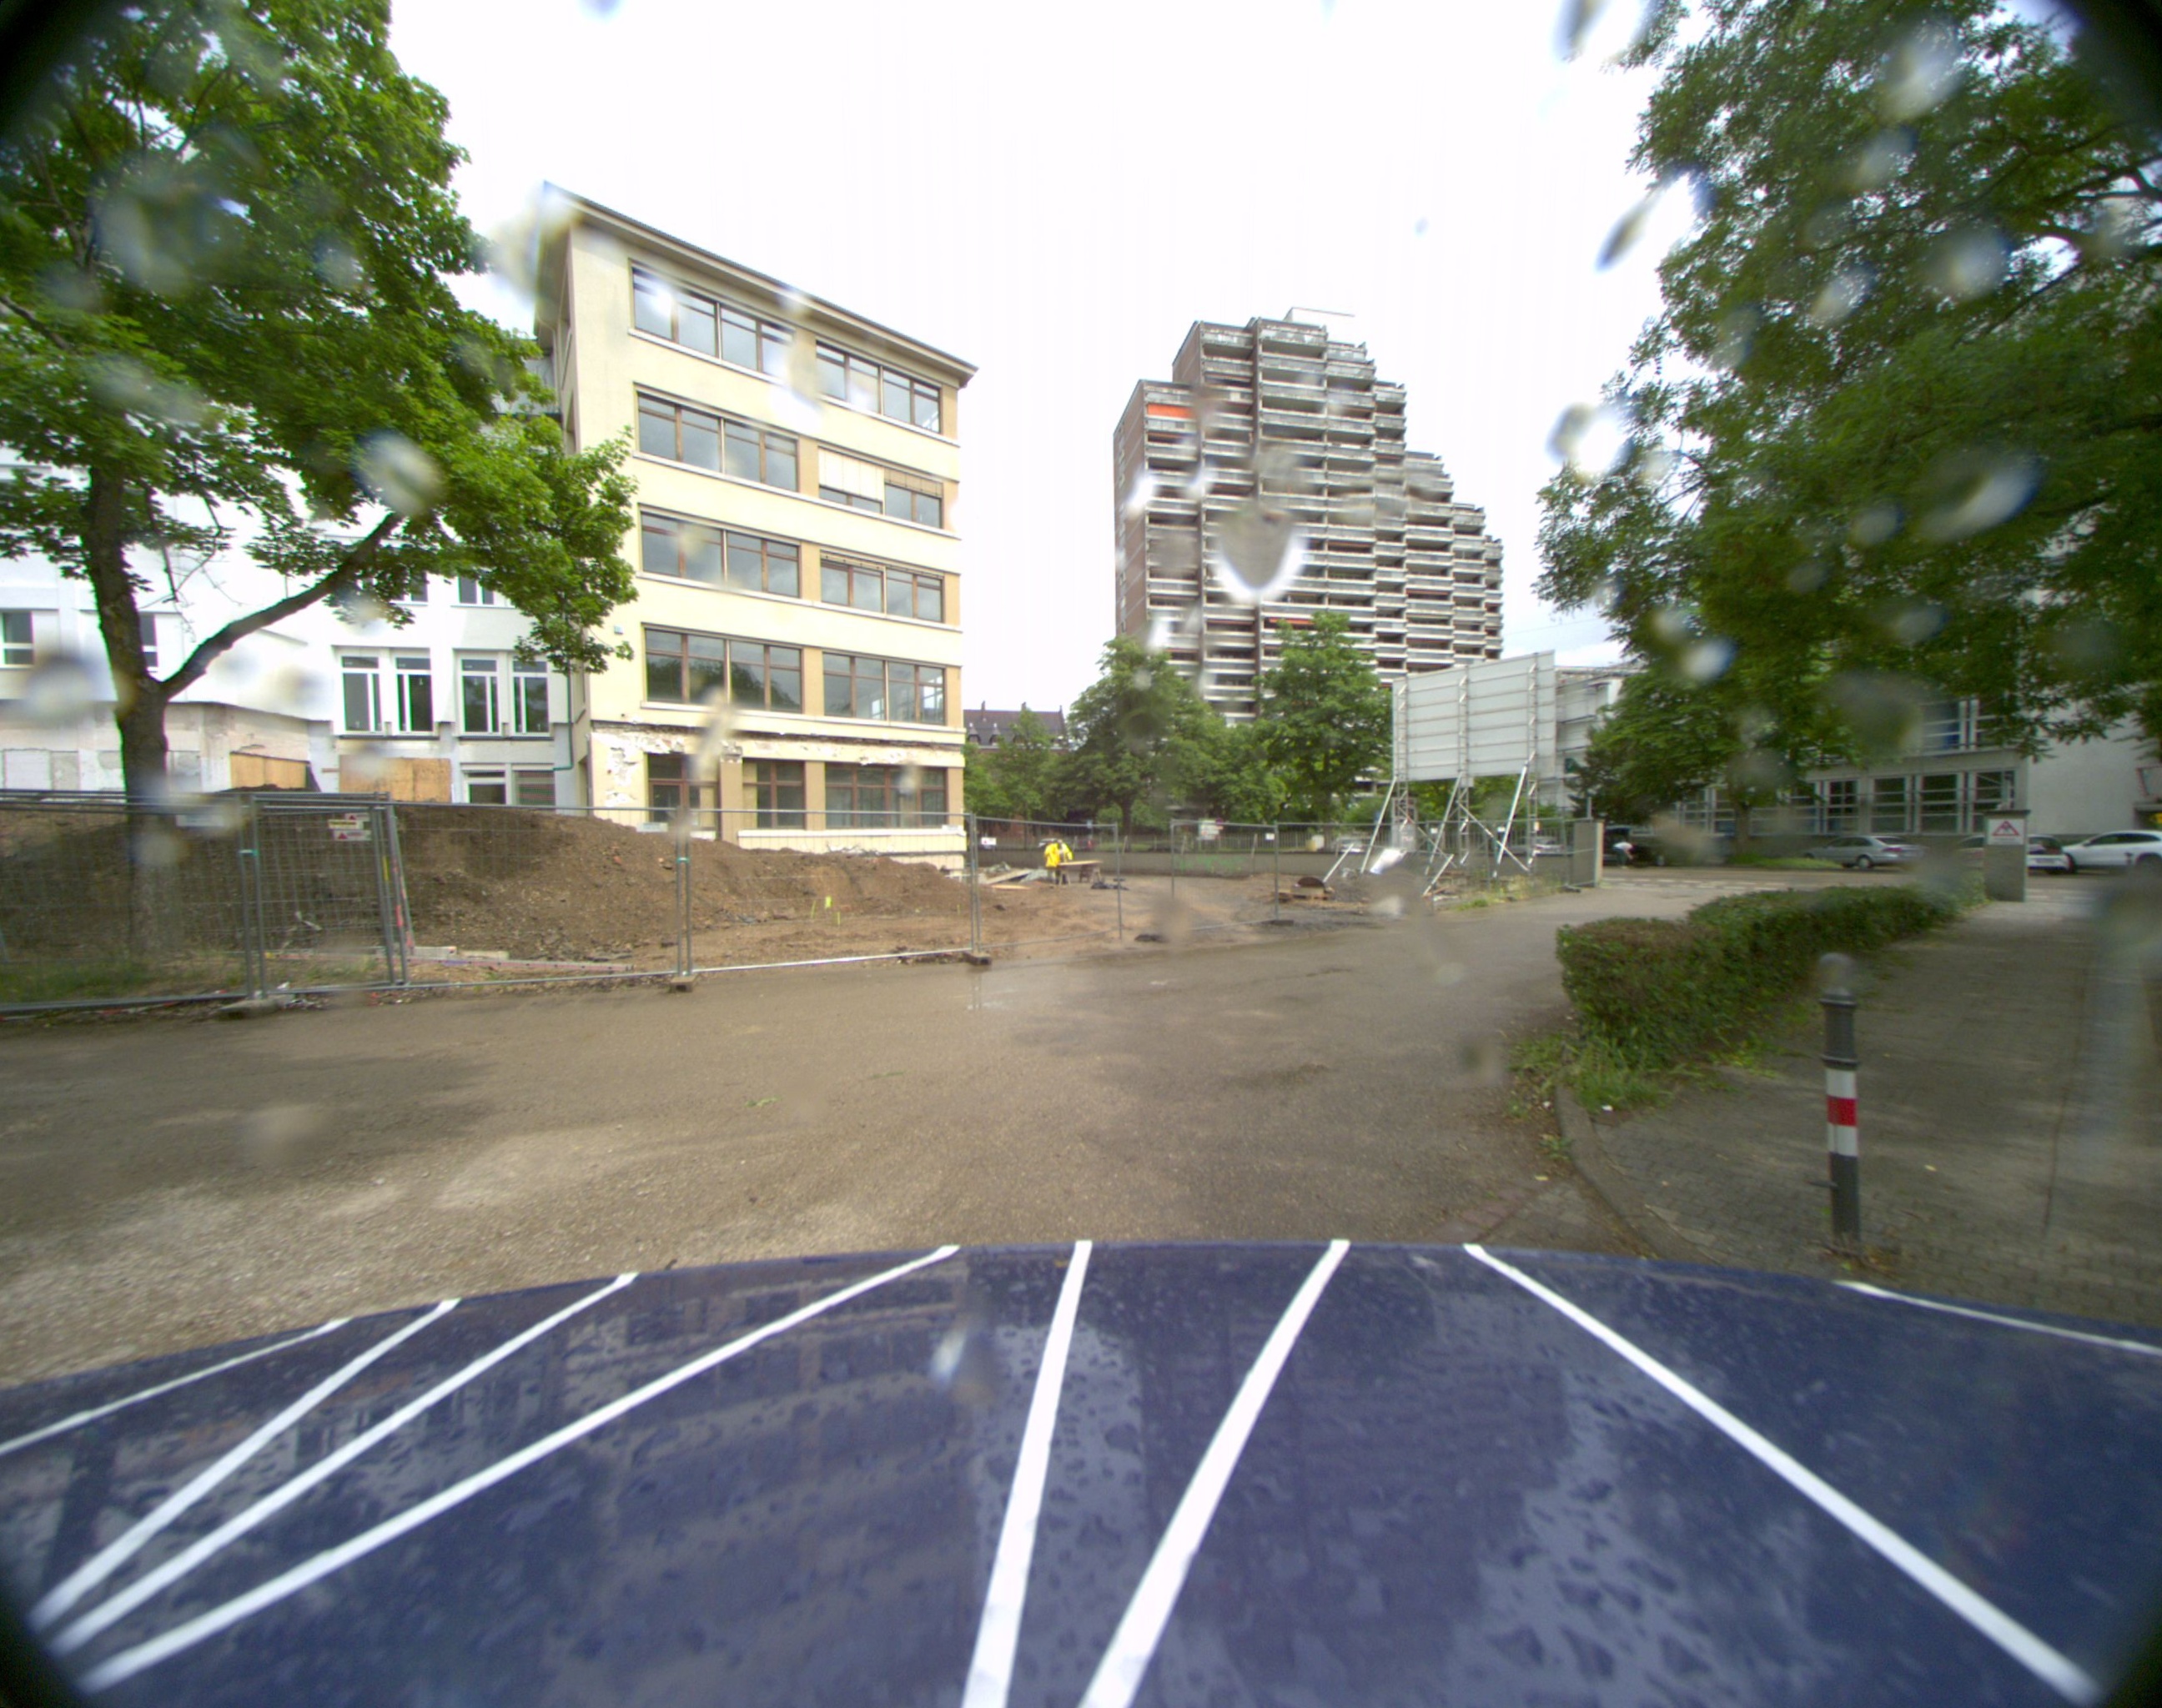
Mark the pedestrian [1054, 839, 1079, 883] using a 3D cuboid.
[{"bbox_3d":[-0.559,0.256,29.475,0.775,1.664,0.713,-1,2,17],"label":"pedestrian"}]

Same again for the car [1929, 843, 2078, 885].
[{"bbox_3d":[34.222,0.319,28.327,1.652,1.437,3.391,1,1,9],"label":"car"}]

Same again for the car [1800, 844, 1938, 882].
[{"bbox_3d":[32.435,0.320,31.459,1.721,1.407,4.000,0,1,4],"label":"car"}]

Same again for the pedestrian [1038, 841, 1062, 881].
[{"bbox_3d":[-1.158,0.257,28.455,0.623,1.500,0.650,0,2,40],"label":"pedestrian"}]

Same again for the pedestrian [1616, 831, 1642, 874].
[{"bbox_3d":[25.944,-0.096,35.977,0.928,2.002,0.861,1,3,42],"label":"pedestrian"}]

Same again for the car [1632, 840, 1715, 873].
[{"bbox_3d":[28.014,0.089,36.074,1.620,1.419,3.650,-1,2,11],"label":"car"}]

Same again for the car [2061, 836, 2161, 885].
[{"bbox_3d":[36.356,0.183,25.895,1.705,1.594,3.391,1,1,9],"label":"car"}]

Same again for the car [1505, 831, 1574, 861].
[{"bbox_3d":[24.432,-0.459,40.646,1.856,1.477,4.002,-3,1,11],"label":"car"}]

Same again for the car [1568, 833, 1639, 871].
[{"bbox_3d":[26.302,-0.140,38.379,1.620,1.737,3.650,-1,2,11],"label":"car"}]

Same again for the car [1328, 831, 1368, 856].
[{"bbox_3d":[17.567,-0.733,50.127,1.856,1.477,4.002,-3,1,11],"label":"car"}]
